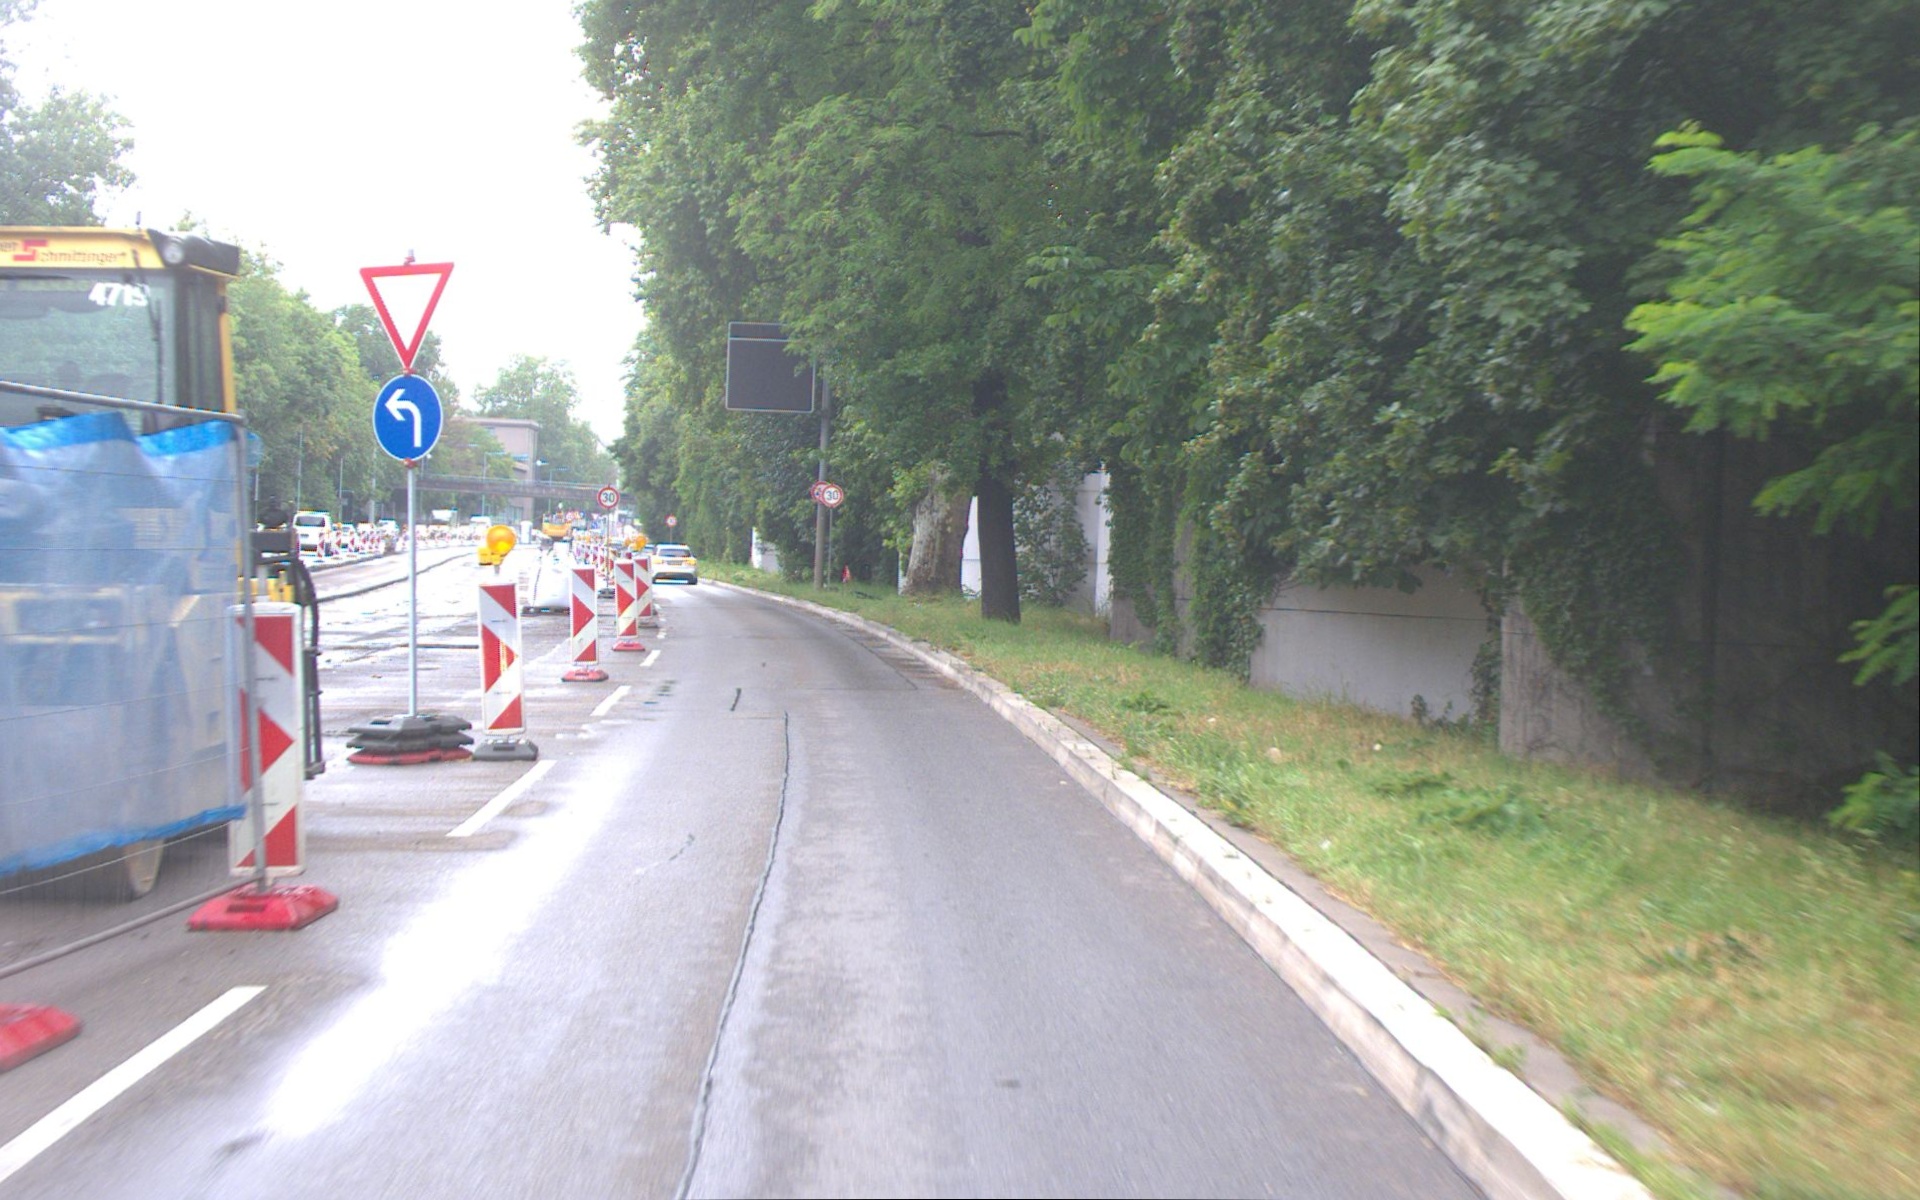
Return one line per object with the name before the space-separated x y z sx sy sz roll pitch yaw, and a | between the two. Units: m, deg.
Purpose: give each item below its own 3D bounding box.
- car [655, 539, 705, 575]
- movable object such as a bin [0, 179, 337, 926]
car | -10.492 -1.627 128.624 1.697 1.331 3.492 0 1 -8
movable object such as a bin | -4.301 -0.244 16.358 1.803 2.975 5.246 1 1 -2
